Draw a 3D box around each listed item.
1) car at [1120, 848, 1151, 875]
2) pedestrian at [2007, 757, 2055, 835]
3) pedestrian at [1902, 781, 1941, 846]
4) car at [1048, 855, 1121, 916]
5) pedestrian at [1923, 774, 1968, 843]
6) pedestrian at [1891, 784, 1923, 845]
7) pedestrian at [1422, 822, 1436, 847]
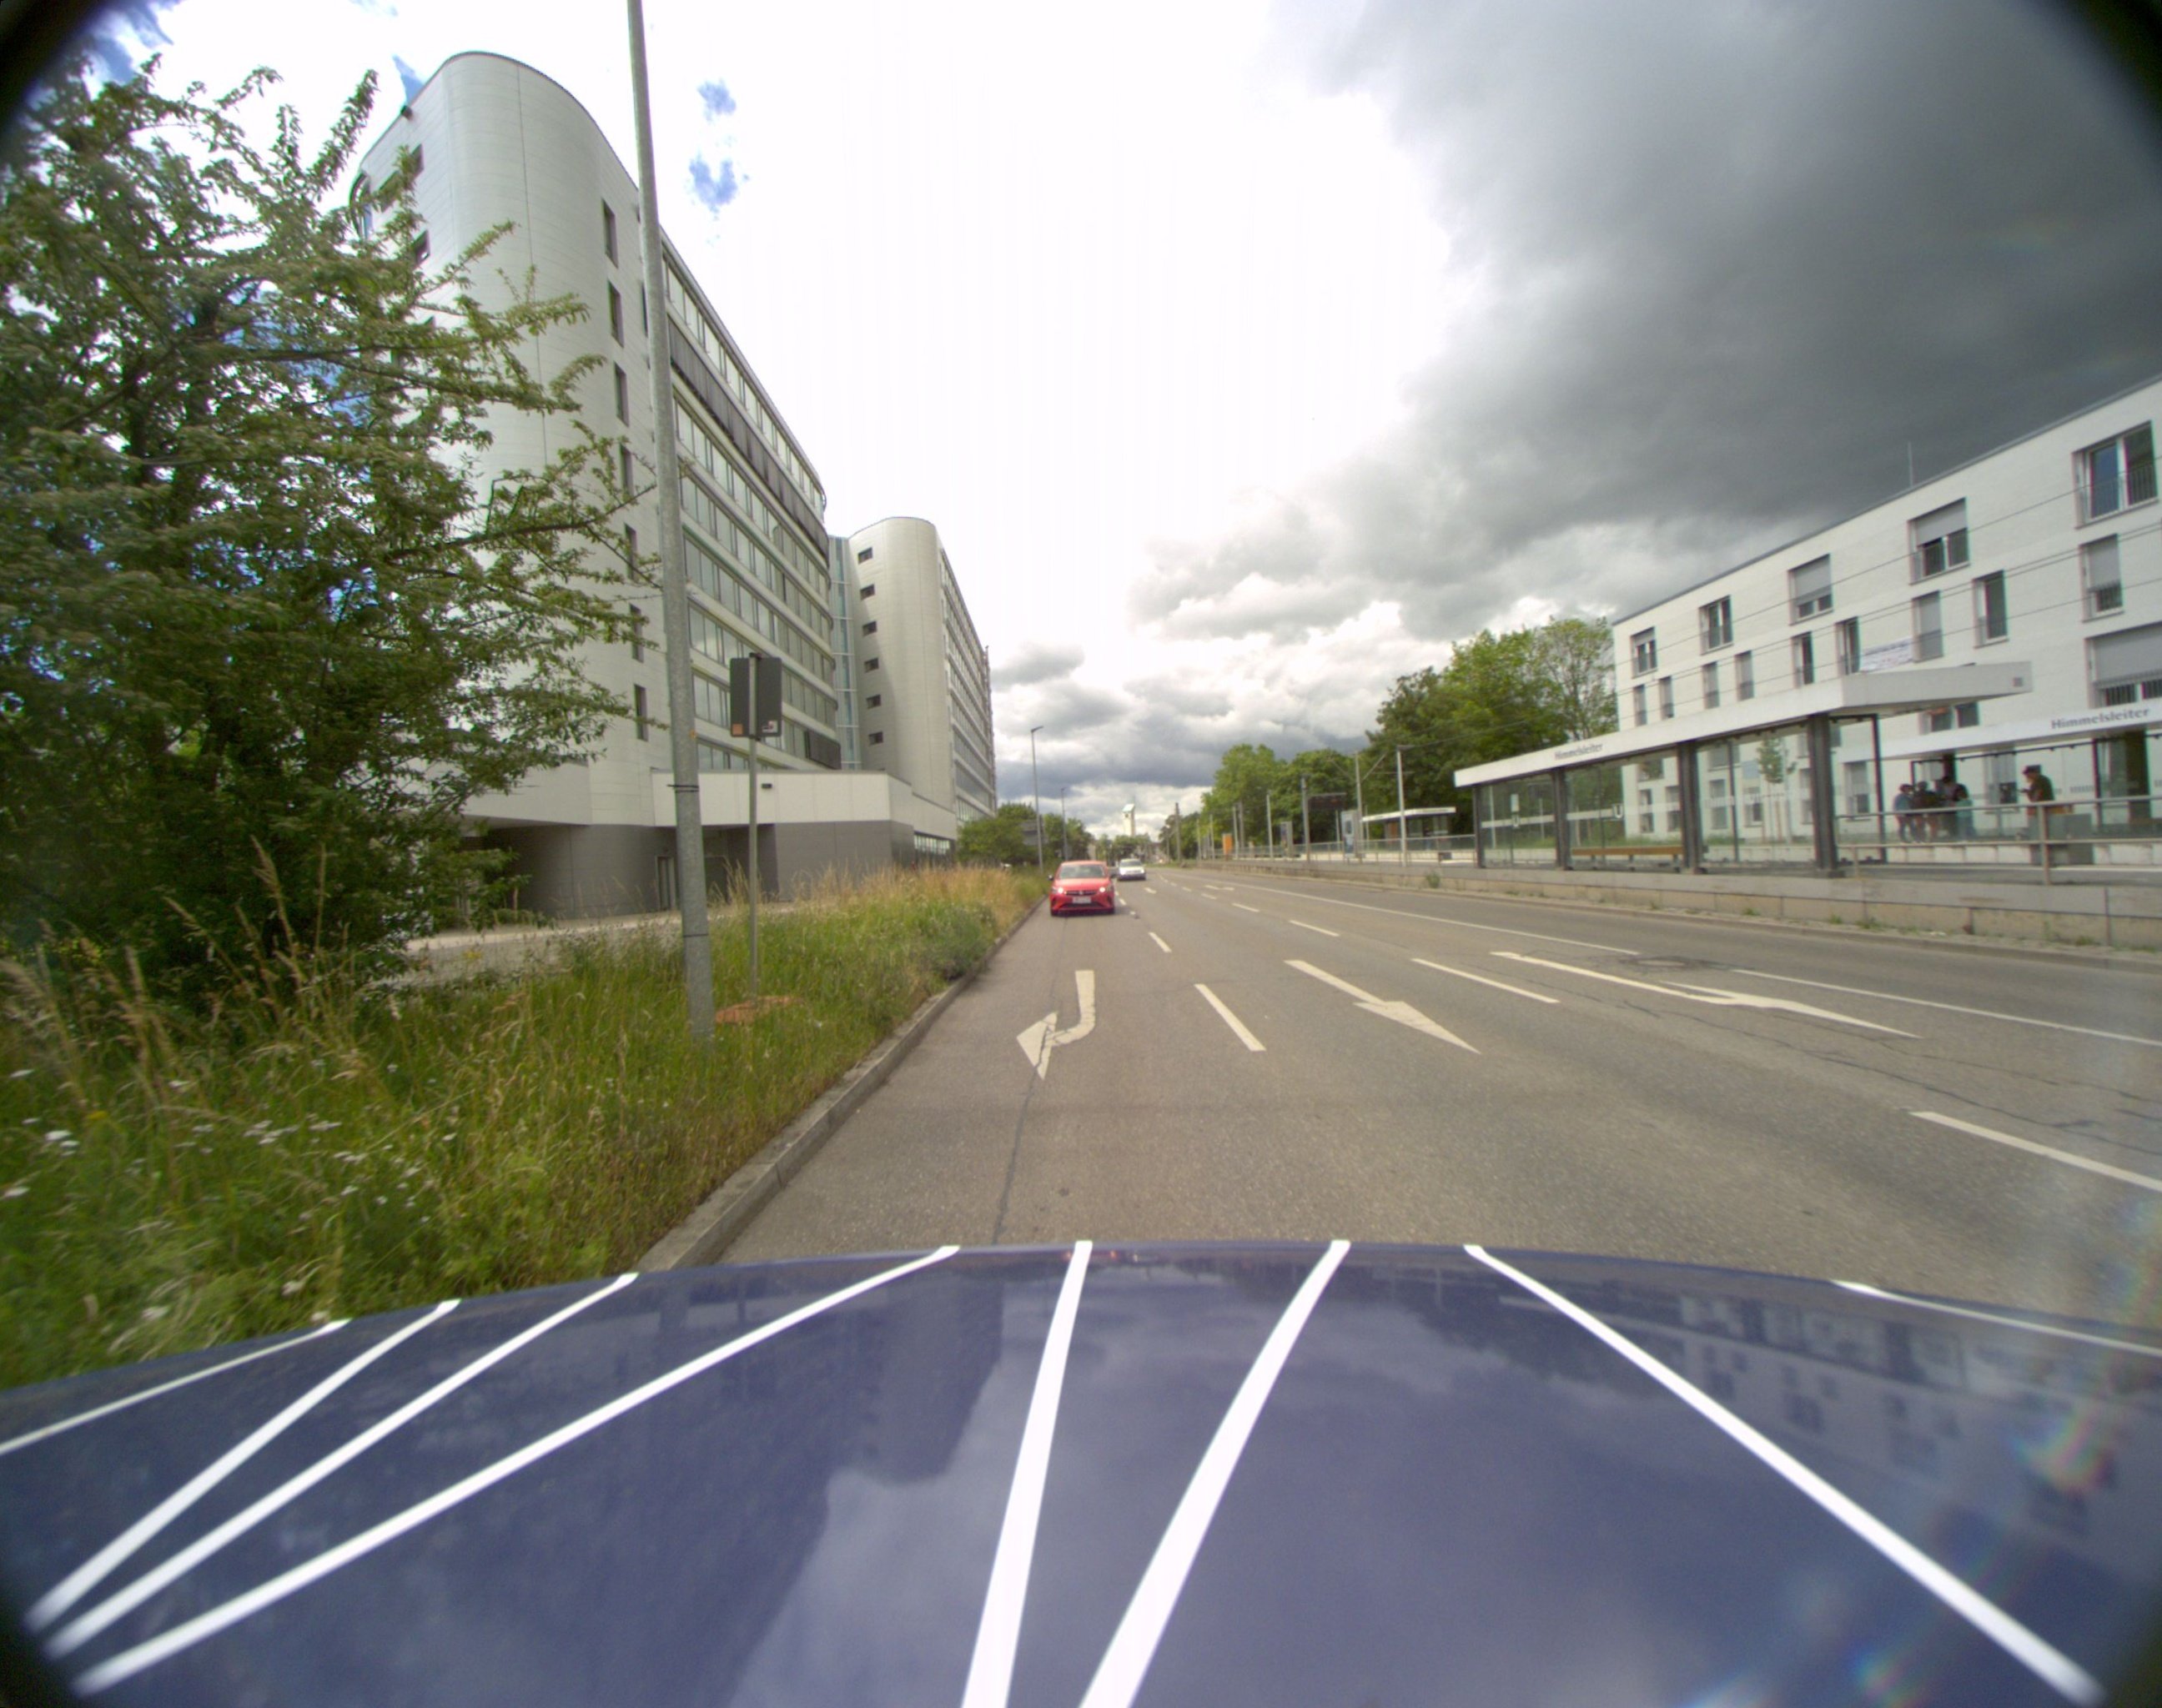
[{"bbox_3d":[3.432,0.454,48.487,1.841,1.586,4.001,-3,0,3],"label":"car"},{"bbox_3d":[22.494,-1.357,18.002,0.487,1.755,0.679,-3,1,35],"label":"pedestrian"},{"bbox_3d":[21.387,-1.019,19.348,0.487,1.587,0.679,-3,1,35],"label":"pedestrian"},{"bbox_3d":[0.160,0.820,21.890,1.790,1.453,4.853,-3,0,1],"label":"car"},{"bbox_3d":[22.418,-1.166,19.702,0.489,1.715,0.676,-4,1,-34],"label":"pedestrian"},{"bbox_3d":[22.023,-1.043,20.268,0.487,1.587,0.679,-3,1,43],"label":"pedestrian"},{"bbox_3d":[22.252,-1.241,48.552,0.742,1.522,0.548,-3,1,26],"label":"pedestrian"}]
